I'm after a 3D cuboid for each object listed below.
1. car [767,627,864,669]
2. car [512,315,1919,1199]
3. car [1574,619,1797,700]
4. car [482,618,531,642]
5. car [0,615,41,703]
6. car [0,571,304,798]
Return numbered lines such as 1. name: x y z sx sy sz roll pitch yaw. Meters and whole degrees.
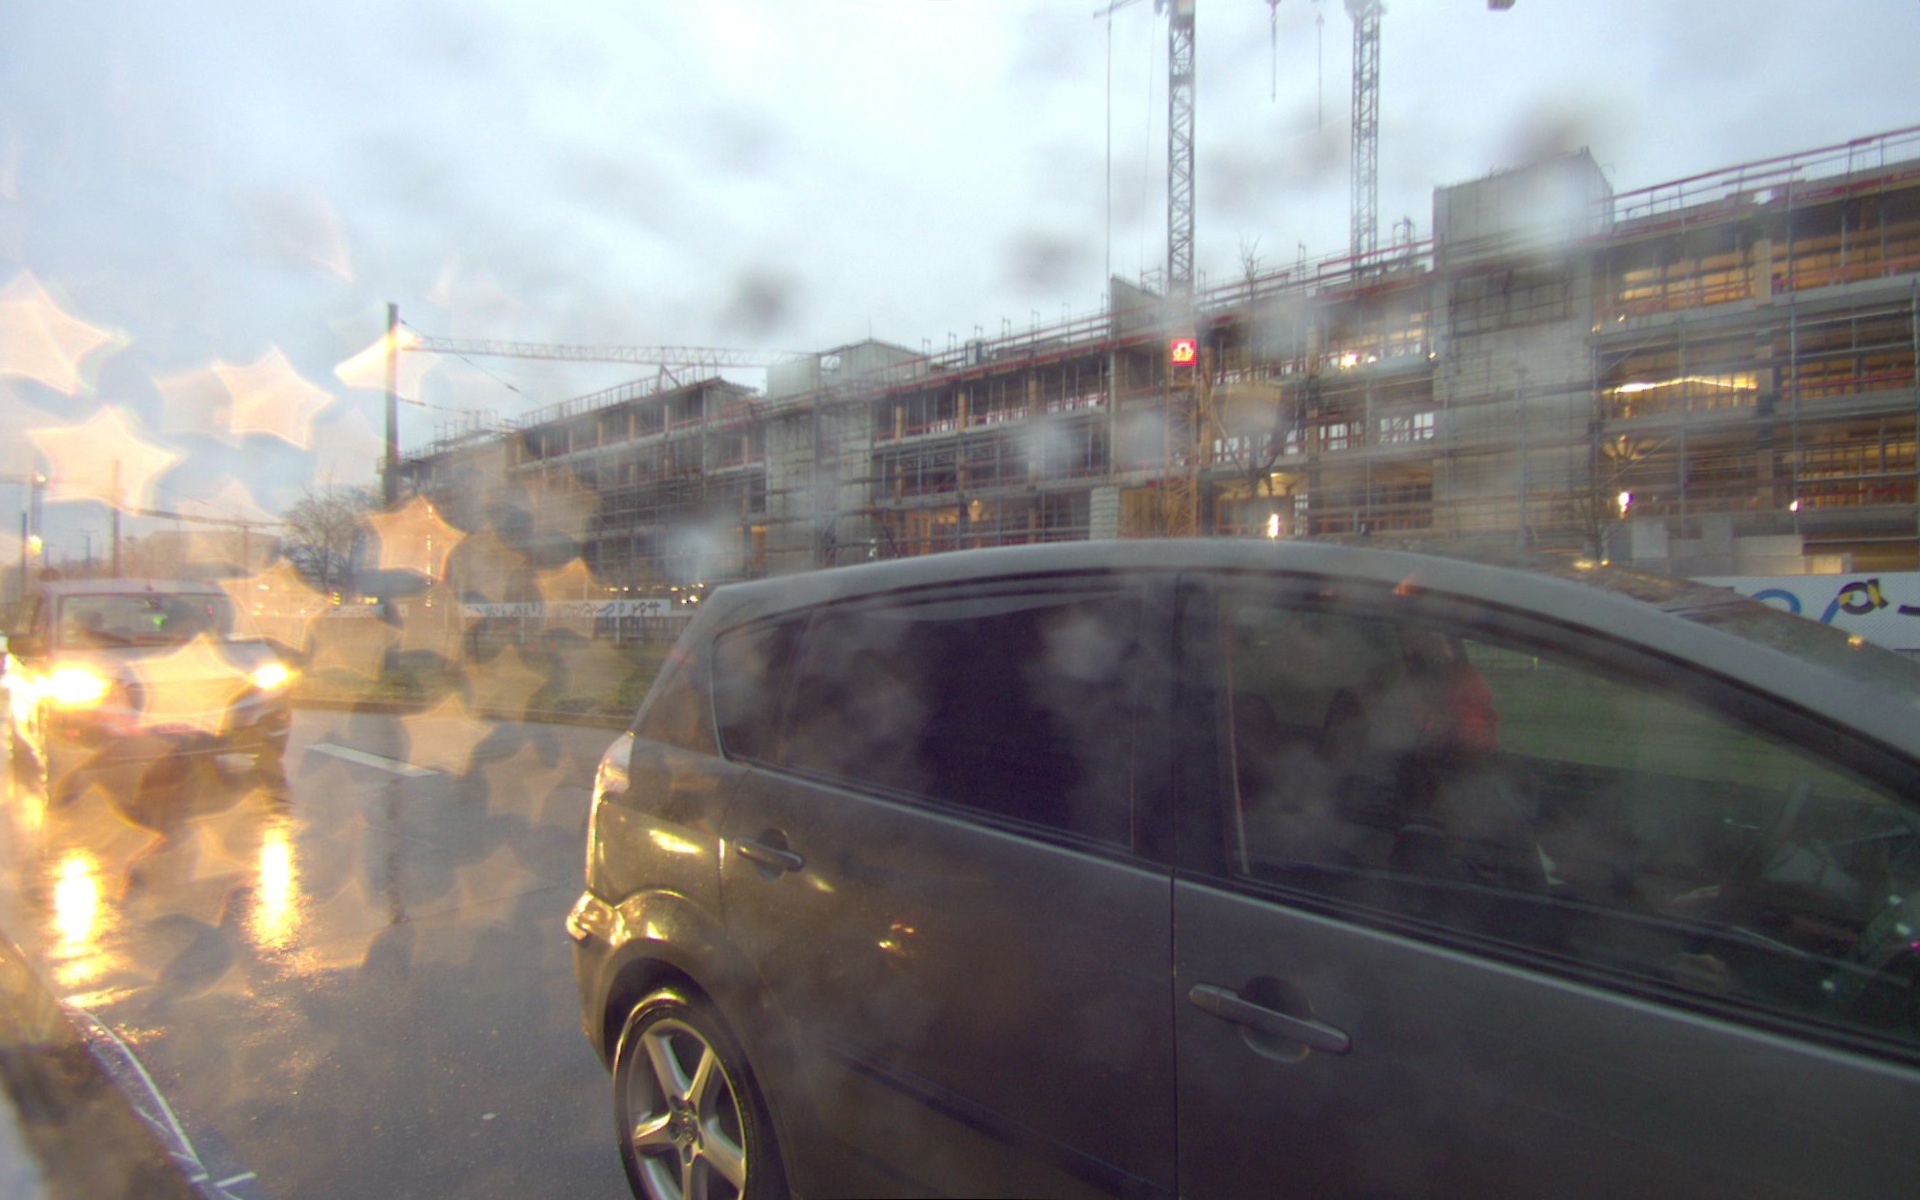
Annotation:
1. car: -6.482 2.104 45.274 4.074 1.700 1.936 -1 0 35
2. car: 1.026 0.556 1.829 3.996 1.606 1.742 -1 0 39
3. car: 17.154 1.322 24.035 4.084 1.700 1.931 -1 0 43
4. car: -34.915 2.267 77.899 3.999 1.785 1.973 -1 0 42
5. car: -20.293 1.155 19.816 4.297 1.666 1.831 -1 0 24
6. car: -8.003 0.662 9.841 4.001 1.746 1.833 -1 0 43
